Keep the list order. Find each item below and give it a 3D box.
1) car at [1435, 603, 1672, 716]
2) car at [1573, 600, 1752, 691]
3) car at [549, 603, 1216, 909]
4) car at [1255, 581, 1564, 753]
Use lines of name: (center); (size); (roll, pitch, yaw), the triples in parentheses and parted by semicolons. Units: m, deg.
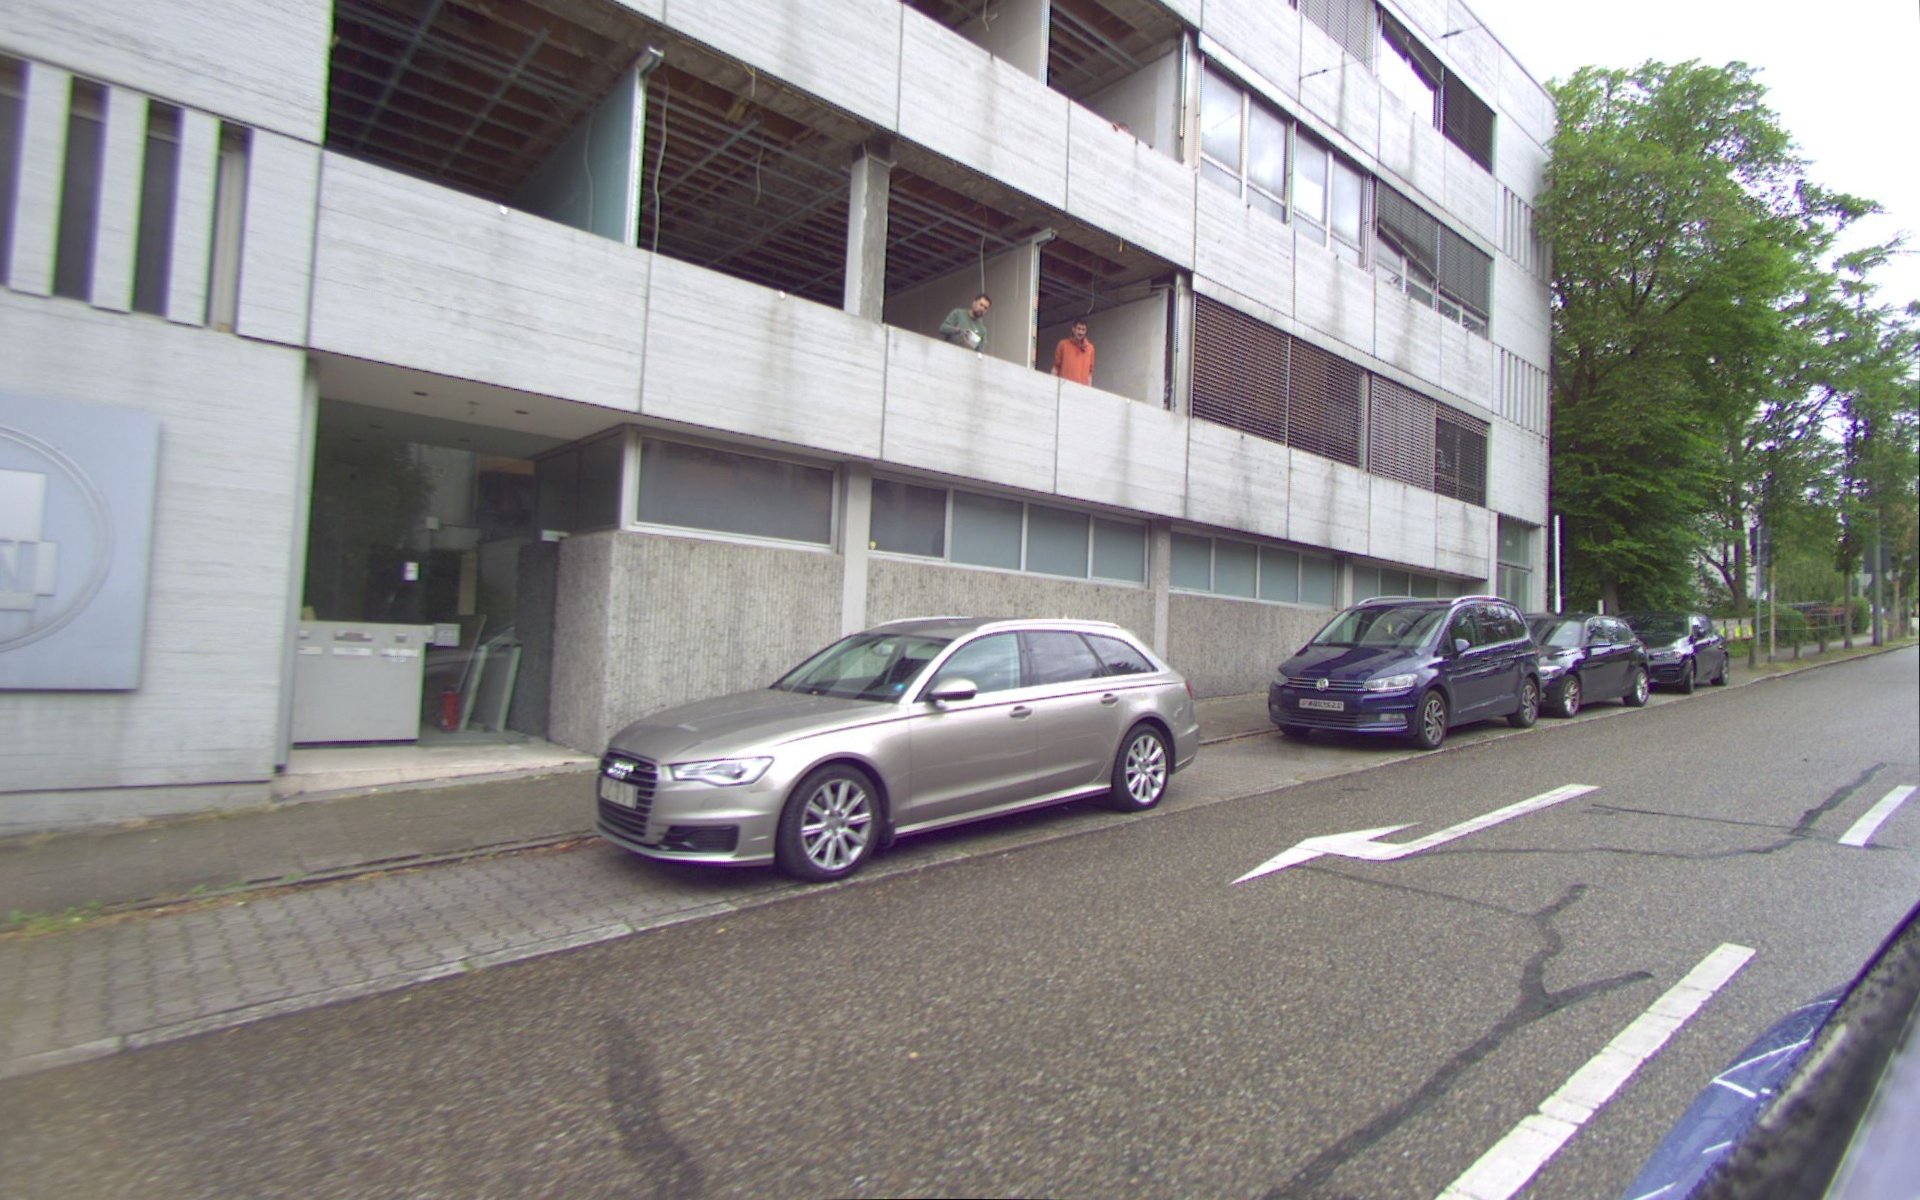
car: (9.022, 0.795, 15.286); (4.022, 1.462, 1.711); (0, 0, -38)
car: (13.229, 0.762, 18.968); (4.084, 1.462, 1.842); (0, 1, -42)
car: (-0.257, 0.776, 7.246); (4.661, 1.478, 1.816); (0, 0, -43)
car: (5.480, 0.656, 12.083); (4.269, 1.696, 1.747); (0, 0, -41)
